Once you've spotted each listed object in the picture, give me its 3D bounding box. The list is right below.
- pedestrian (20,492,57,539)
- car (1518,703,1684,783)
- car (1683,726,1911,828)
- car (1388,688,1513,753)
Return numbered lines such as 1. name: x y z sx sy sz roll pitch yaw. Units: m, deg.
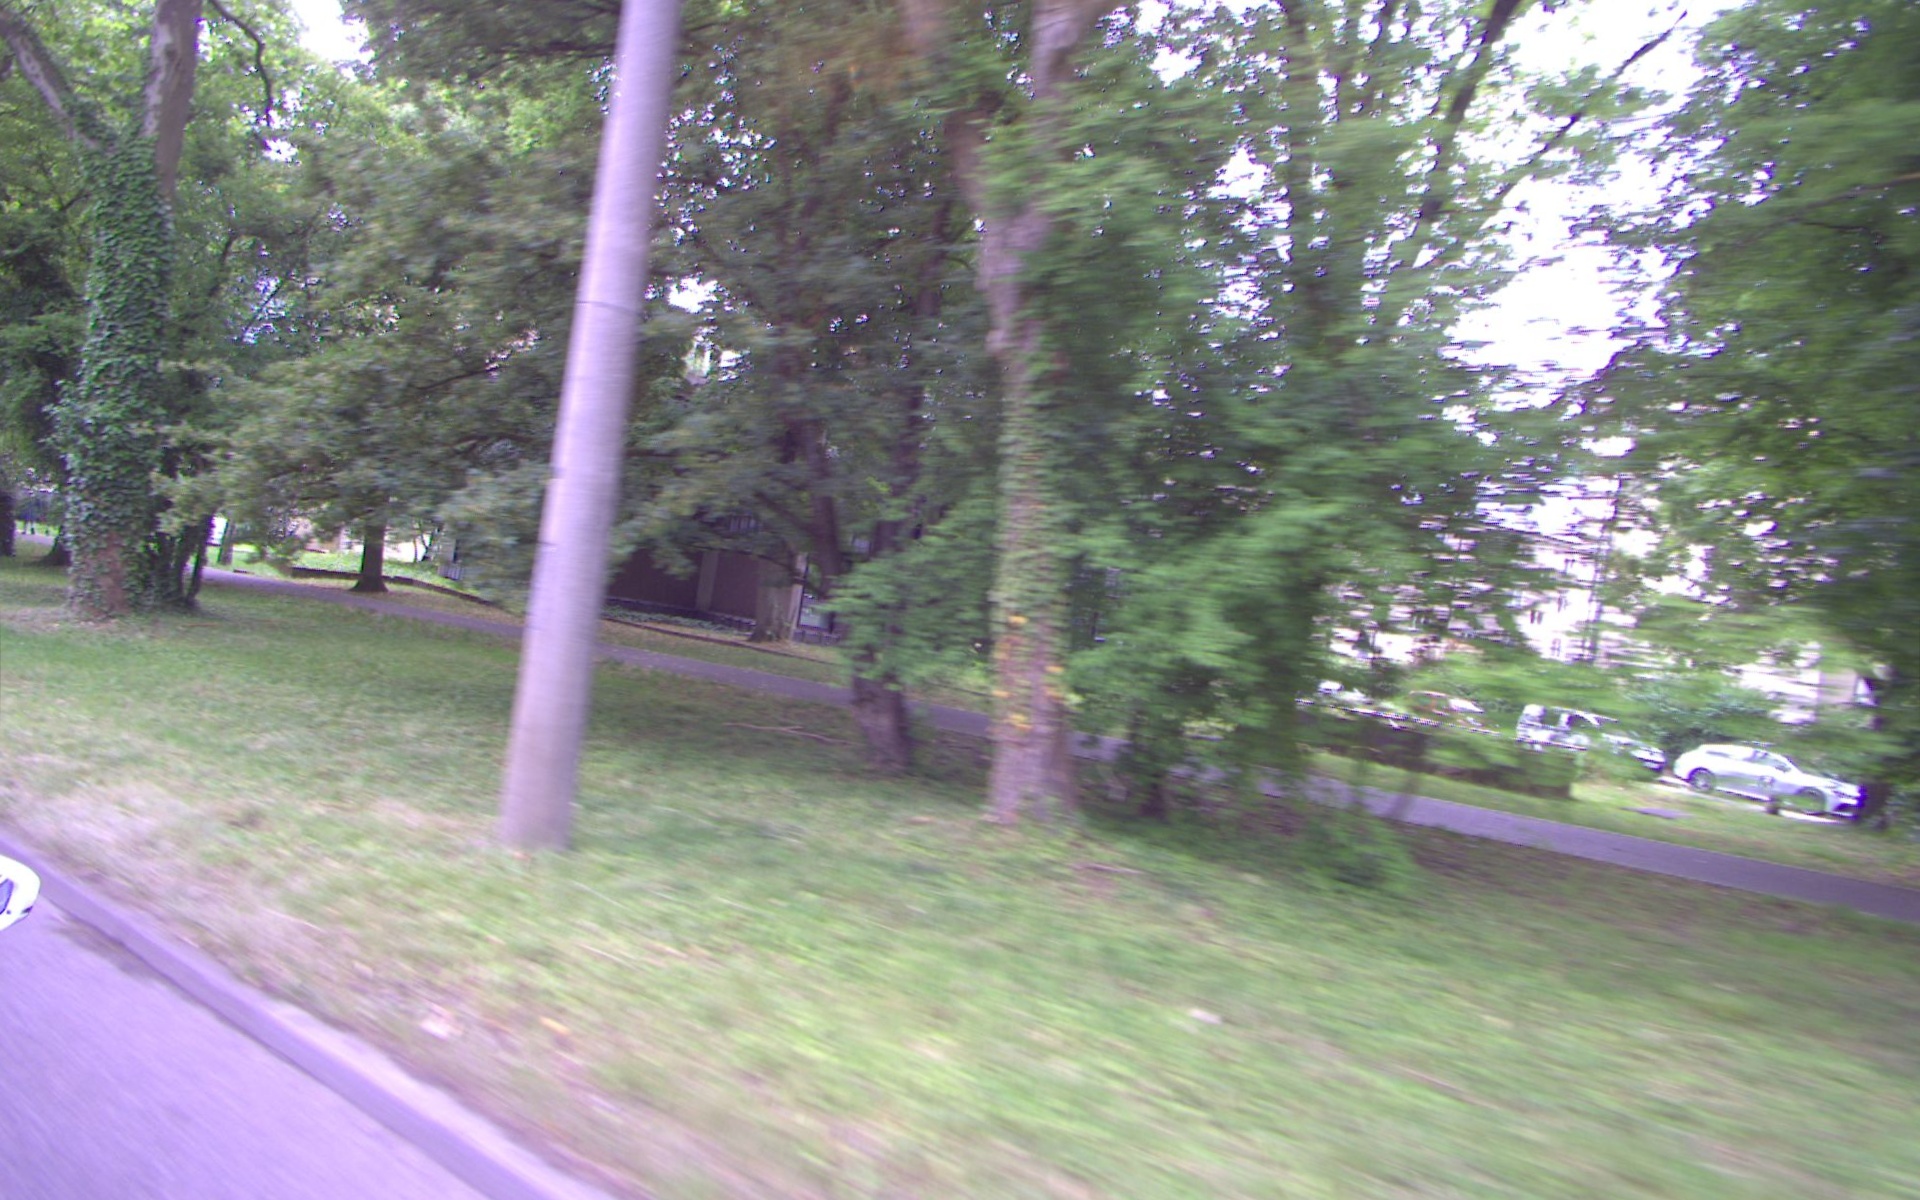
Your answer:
1. pedestrian: -37.007 -3.393 40.407 0.801 1.707 0.768 7 0 33
2. car: 19.476 4.303 30.774 1.773 1.693 3.989 9 -2 -15
3. car: 20.861 4.366 25.300 1.773 1.693 3.989 9 -2 -15
4. car: 17.823 4.349 36.781 1.773 1.693 3.989 9 -2 -15
